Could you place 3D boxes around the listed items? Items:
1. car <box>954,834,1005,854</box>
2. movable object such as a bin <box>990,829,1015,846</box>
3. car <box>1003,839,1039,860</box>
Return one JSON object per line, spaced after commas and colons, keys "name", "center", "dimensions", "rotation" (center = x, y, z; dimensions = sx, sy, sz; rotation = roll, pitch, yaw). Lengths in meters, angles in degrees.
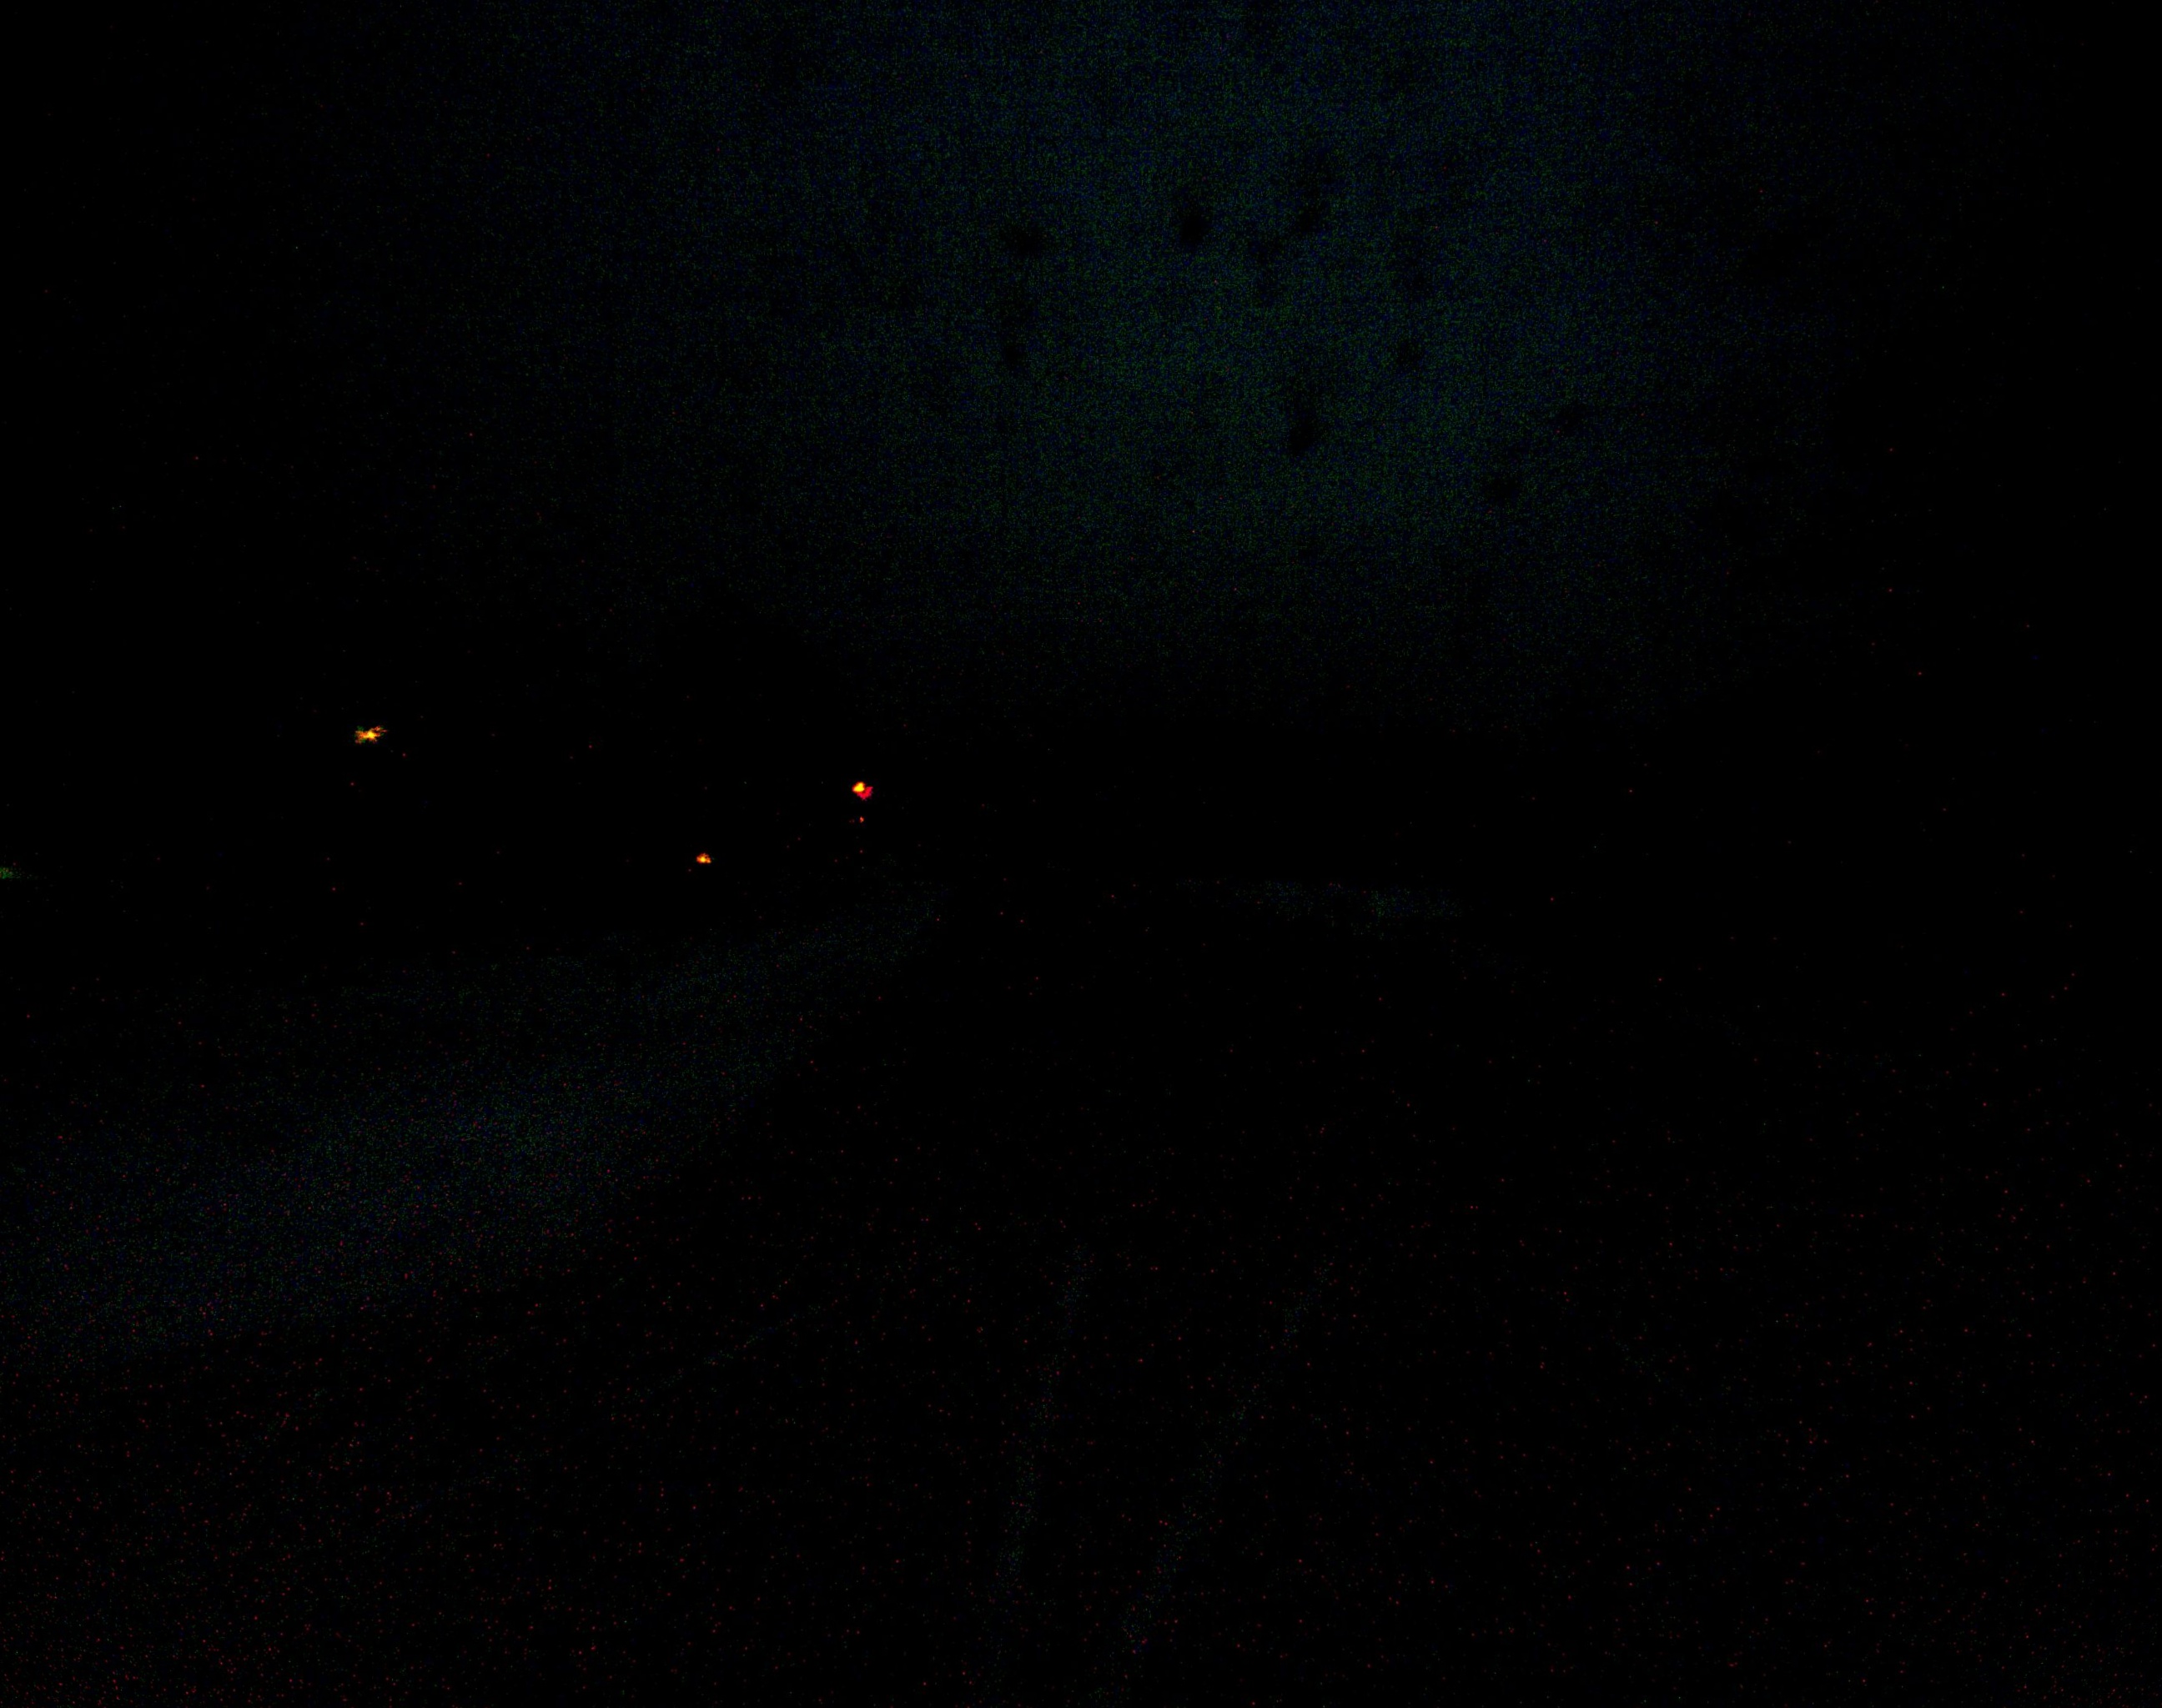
{"name": "car", "center": [-11.625, -1.175, 86.899], "dimensions": [5.286, 2.003, 2.208], "rotation": [1, 5, -26]}
{"name": "movable object such as a bin", "center": [-7.873, -1.679, 76.517], "dimensions": [2.370, 1.640, 1.440], "rotation": [-2, 3, -2]}
{"name": "car", "center": [-4.588, -0.371, 57.487], "dimensions": [1.726, 1.525, 3.509], "rotation": [1, 1, -22]}
